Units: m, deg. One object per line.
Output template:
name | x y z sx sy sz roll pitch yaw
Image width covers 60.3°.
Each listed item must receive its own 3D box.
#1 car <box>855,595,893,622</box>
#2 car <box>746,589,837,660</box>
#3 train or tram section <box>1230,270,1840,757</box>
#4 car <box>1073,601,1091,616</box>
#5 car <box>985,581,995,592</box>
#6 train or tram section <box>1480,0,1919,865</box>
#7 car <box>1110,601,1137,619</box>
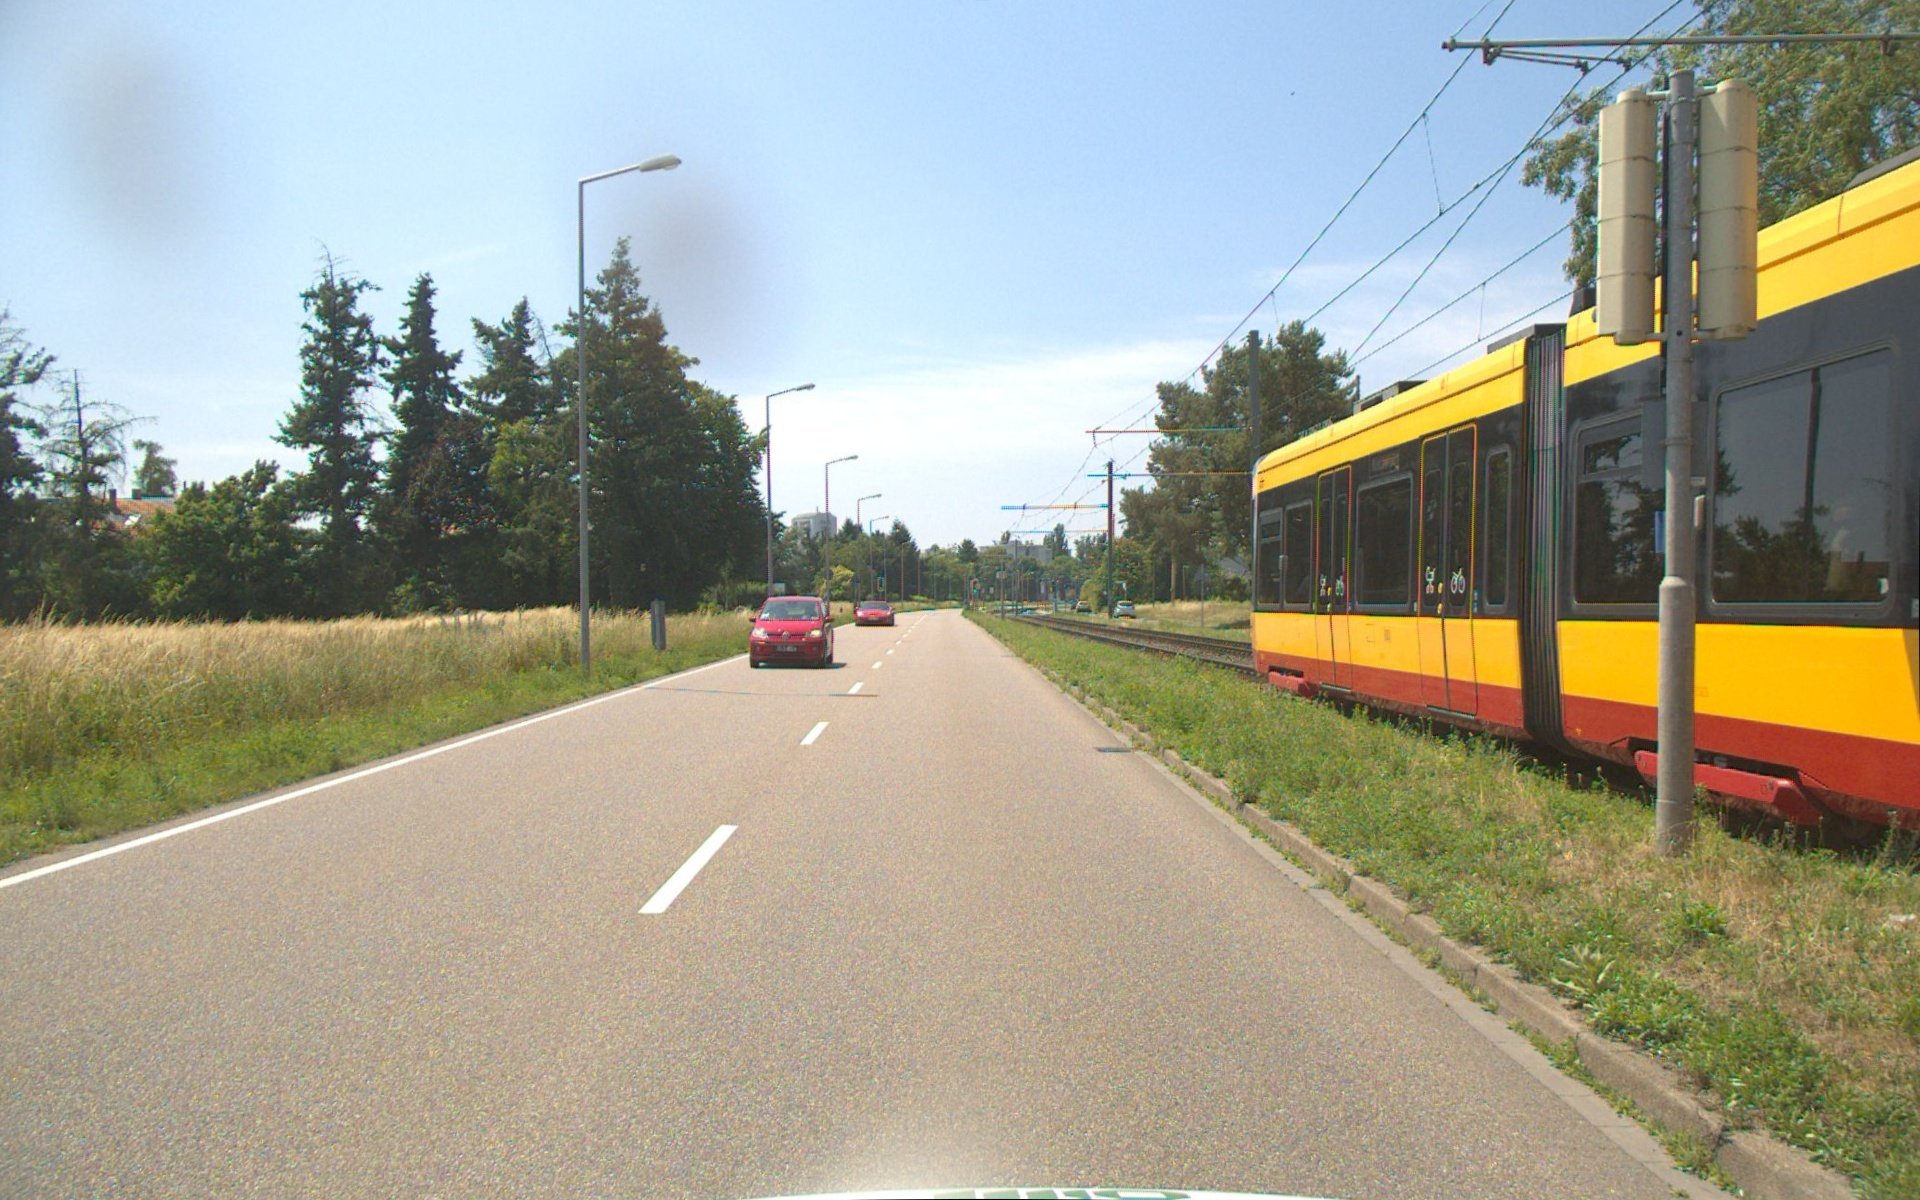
car | -4.319 0.457 83.697 1.770 1.308 4.285 -1 -1 -1
car | -3.594 0.530 35.724 1.612 1.424 3.843 -1 -1 -1
train or tram section | 5.386 -0.598 18.469 2.709 3.754 11.183 -1 -1 -1
car | 14.909 1.043 202.645 1.876 1.691 3.999 -1 -1 -1
car | 4.667 -2.029 257.092 1.520 1.613 3.568 -1 -1 -1
train or tram section | 5.467 -0.742 9.578 2.646 3.832 6.727 -1 -1 -1
car | 14.511 0.934 147.060 1.953 1.534 3.999 -1 -1 -1
